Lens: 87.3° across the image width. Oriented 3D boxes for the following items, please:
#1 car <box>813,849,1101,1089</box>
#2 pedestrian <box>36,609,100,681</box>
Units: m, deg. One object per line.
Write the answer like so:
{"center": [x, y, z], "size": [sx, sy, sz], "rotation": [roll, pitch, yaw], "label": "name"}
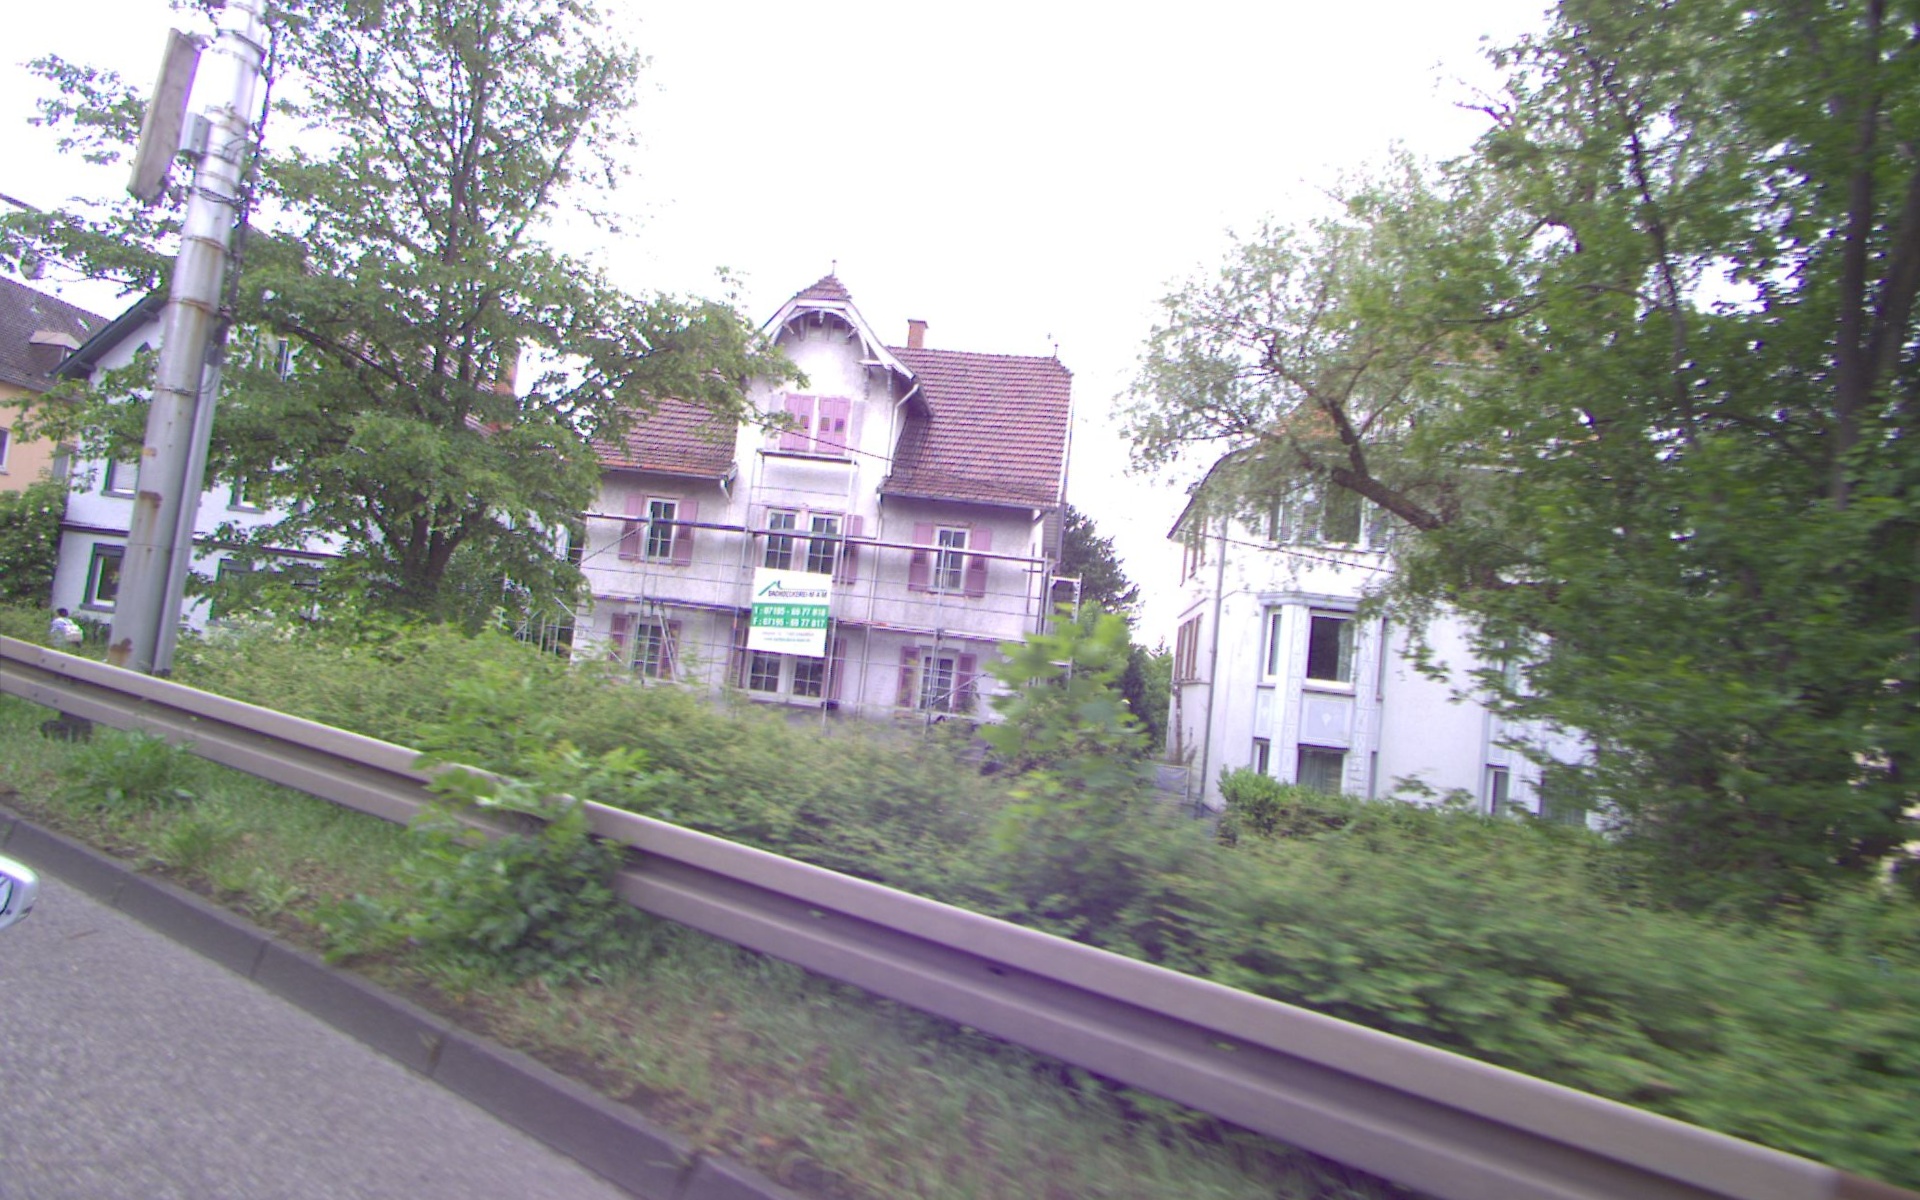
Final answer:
{"center": [0.203, 3.718, 10.860], "size": [1.594, 1.383, 4.067], "rotation": [8, -5, 22], "label": "car"}
{"center": [-20.040, 1.017, 22.616], "size": [0.578, 1.495, 0.621], "rotation": [9, -4, 8], "label": "pedestrian"}
